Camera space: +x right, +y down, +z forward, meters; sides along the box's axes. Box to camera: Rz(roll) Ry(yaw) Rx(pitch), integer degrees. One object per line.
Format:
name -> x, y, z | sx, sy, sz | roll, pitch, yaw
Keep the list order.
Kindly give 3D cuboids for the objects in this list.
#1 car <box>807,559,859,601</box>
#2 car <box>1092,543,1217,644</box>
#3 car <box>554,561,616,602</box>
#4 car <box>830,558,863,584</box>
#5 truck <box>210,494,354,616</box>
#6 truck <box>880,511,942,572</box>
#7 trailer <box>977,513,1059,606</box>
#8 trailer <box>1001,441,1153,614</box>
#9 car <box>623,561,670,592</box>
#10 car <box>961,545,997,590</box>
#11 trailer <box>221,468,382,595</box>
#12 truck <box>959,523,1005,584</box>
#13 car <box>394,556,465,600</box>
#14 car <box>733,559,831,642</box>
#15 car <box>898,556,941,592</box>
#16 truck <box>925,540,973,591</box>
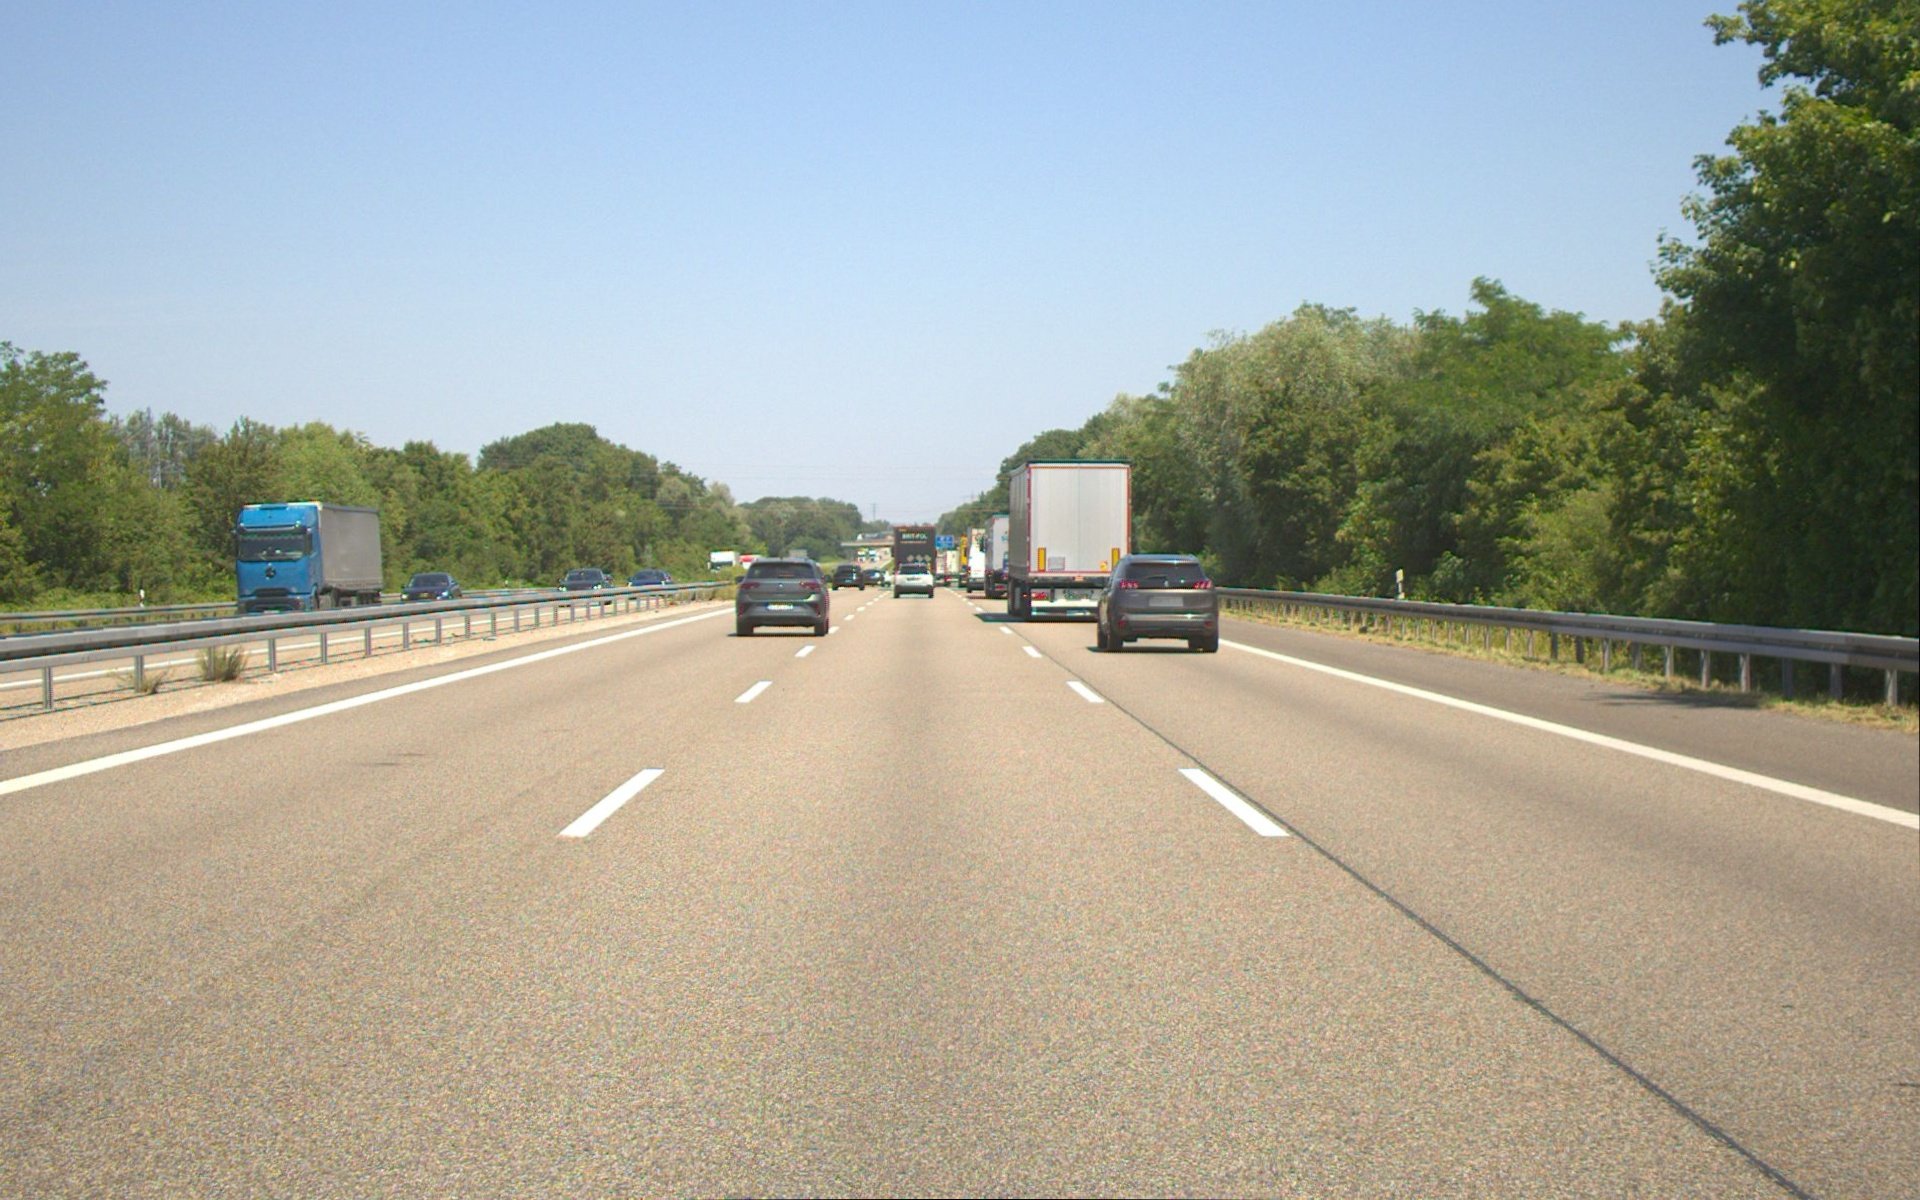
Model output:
car -> -4.945, -0.805, 133.988 | 1.900, 1.525, 4.084 | 1, 1, -1
car -> 3.238, -0.142, 57.889 | 1.845, 1.623, 4.135 | -1, 1, 0
car -> -14.465, -0.733, 132.875 | 1.850, 1.458, 5.170 | -3, 1, -1
car -> -7.147, -1.839, 216.577 | 1.907, 1.525, 4.286 | 1, 1, -1
truck -> -23.053, -1.576, 117.379 | 3.251, 3.972, 8.728 | 0, 1, -1
truck -> -3.062, -3.705, 216.833 | 3.667, 3.713, 7.108 | 1, 1, 1
trailer -> 2.472, -1.849, 150.660 | 3.122, 3.913, 9.937 | 1, 1, -2
trailer -> 2.937, -1.823, 90.648 | 3.434, 4.167, 13.633 | 1, 0, 0
car -> -14.952, -1.138, 164.124 | 1.850, 1.390, 4.743 | -3, 1, -1
car -> 1.025, -1.810, 191.180 | 1.907, 2.417, 4.286 | 1, 1, -1
trailer -> -23.267, -2.465, 122.376 | 3.297, 4.172, 13.543 | -1, 1, -1
truck -> 1.410, -2.940, 215.687 | 2.792, 3.713, 7.108 | 1, 1, 1
car -> -18.826, -0.787, 122.107 | 1.850, 1.458, 4.314 | 3, 1, -1
car -> -3.539, -0.022, 68.932 | 1.759, 1.525, 4.286 | 1, 1, -1
car -> -1.807, -1.172, 154.526 | 1.900, 1.525, 4.084 | 1, 1, -1
truck -> -0.779, -2.621, 258.426 | 3.489, 3.713, 7.108 | 1, 1, 1
